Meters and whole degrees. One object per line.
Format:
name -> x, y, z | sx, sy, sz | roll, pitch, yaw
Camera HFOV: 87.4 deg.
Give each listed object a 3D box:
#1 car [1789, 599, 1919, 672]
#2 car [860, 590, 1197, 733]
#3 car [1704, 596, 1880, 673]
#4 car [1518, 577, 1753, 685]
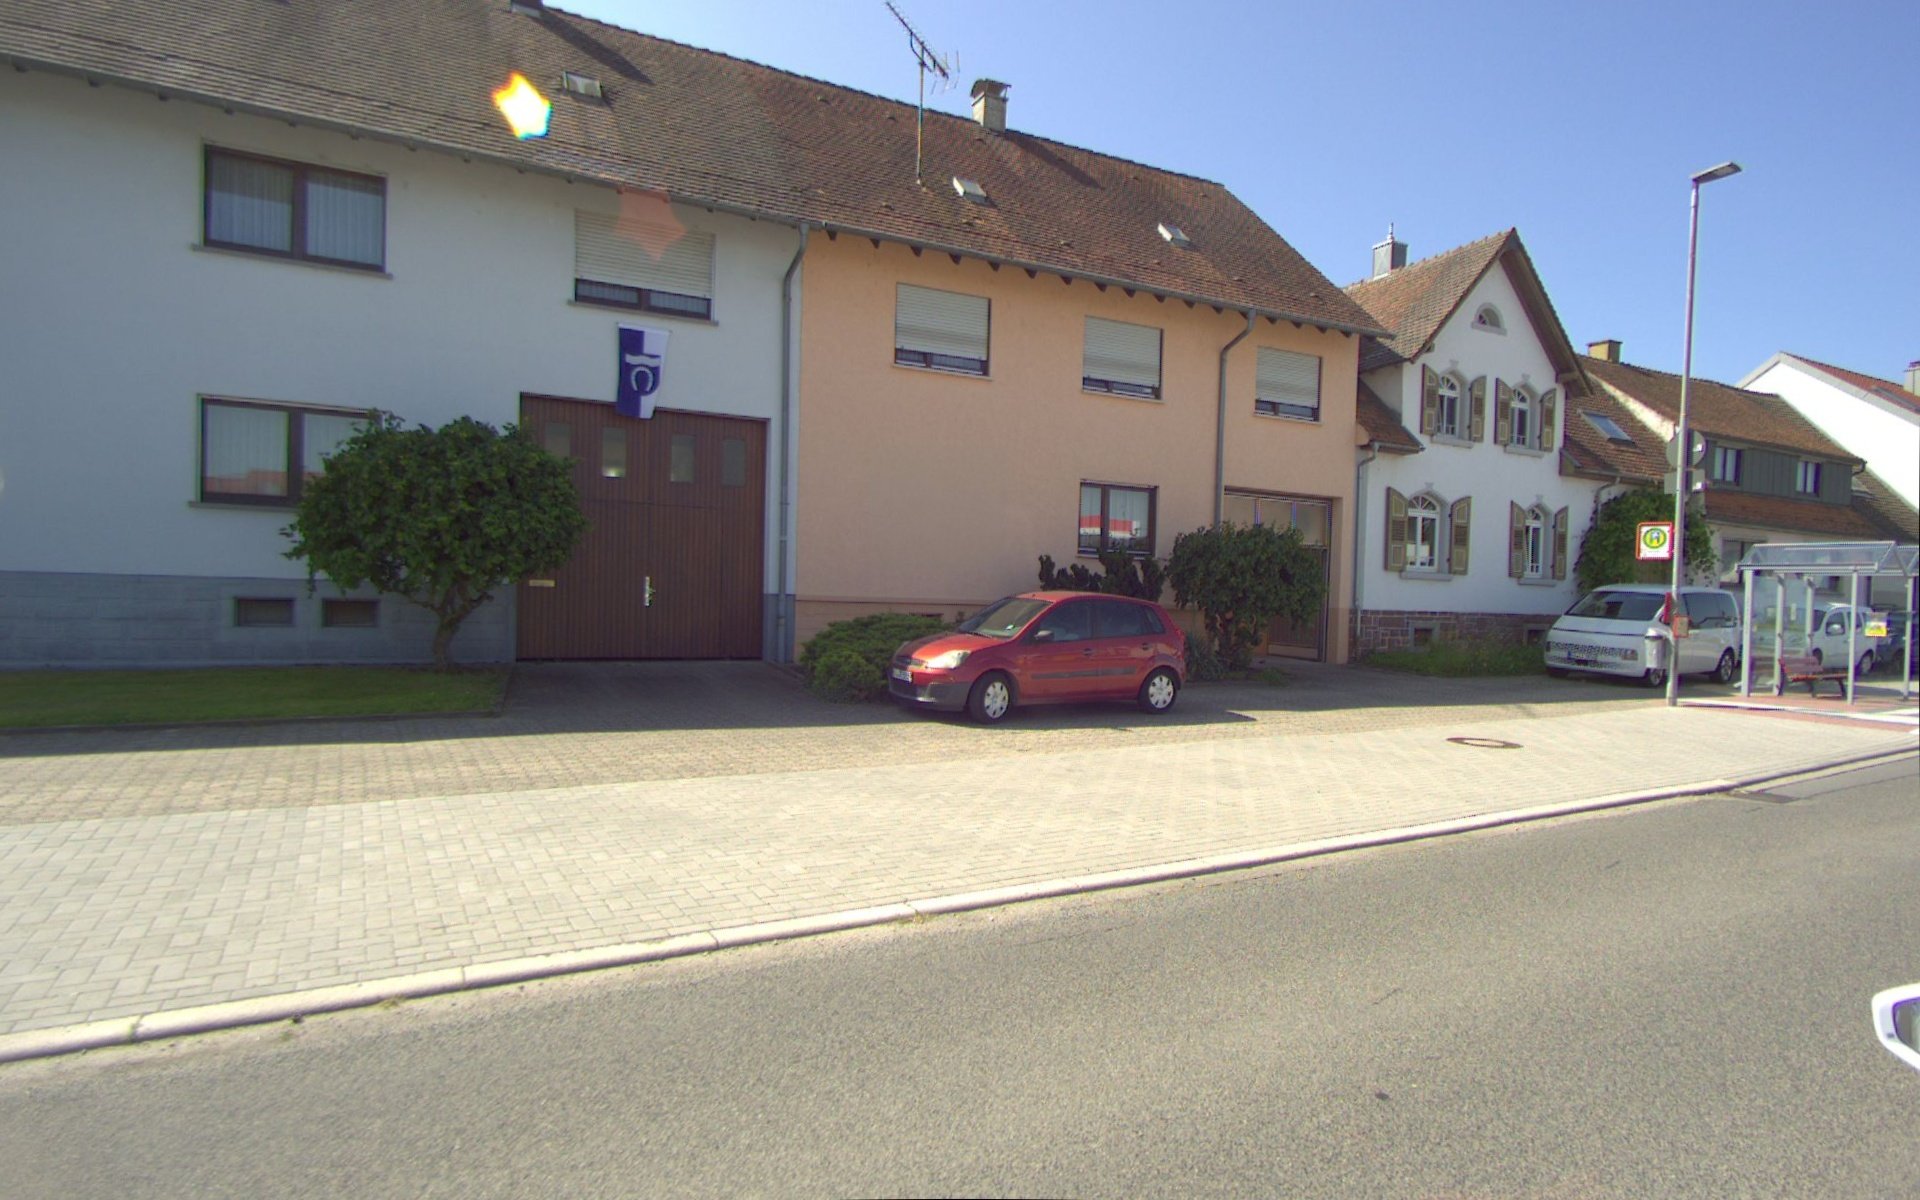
car -> 25.368, 0.980, 27.898 | 4.283, 1.817, 1.831 | 2, 3, -24
car -> 0.884, 0.648, 12.328 | 3.870, 1.473, 1.705 | 0, 2, -31
car -> 21.307, 0.886, 25.717 | 4.223, 1.798, 1.960 | 2, 0, -28
car -> 14.171, 0.638, 20.996 | 5.207, 2.013, 2.114 | 2, 0, -32
